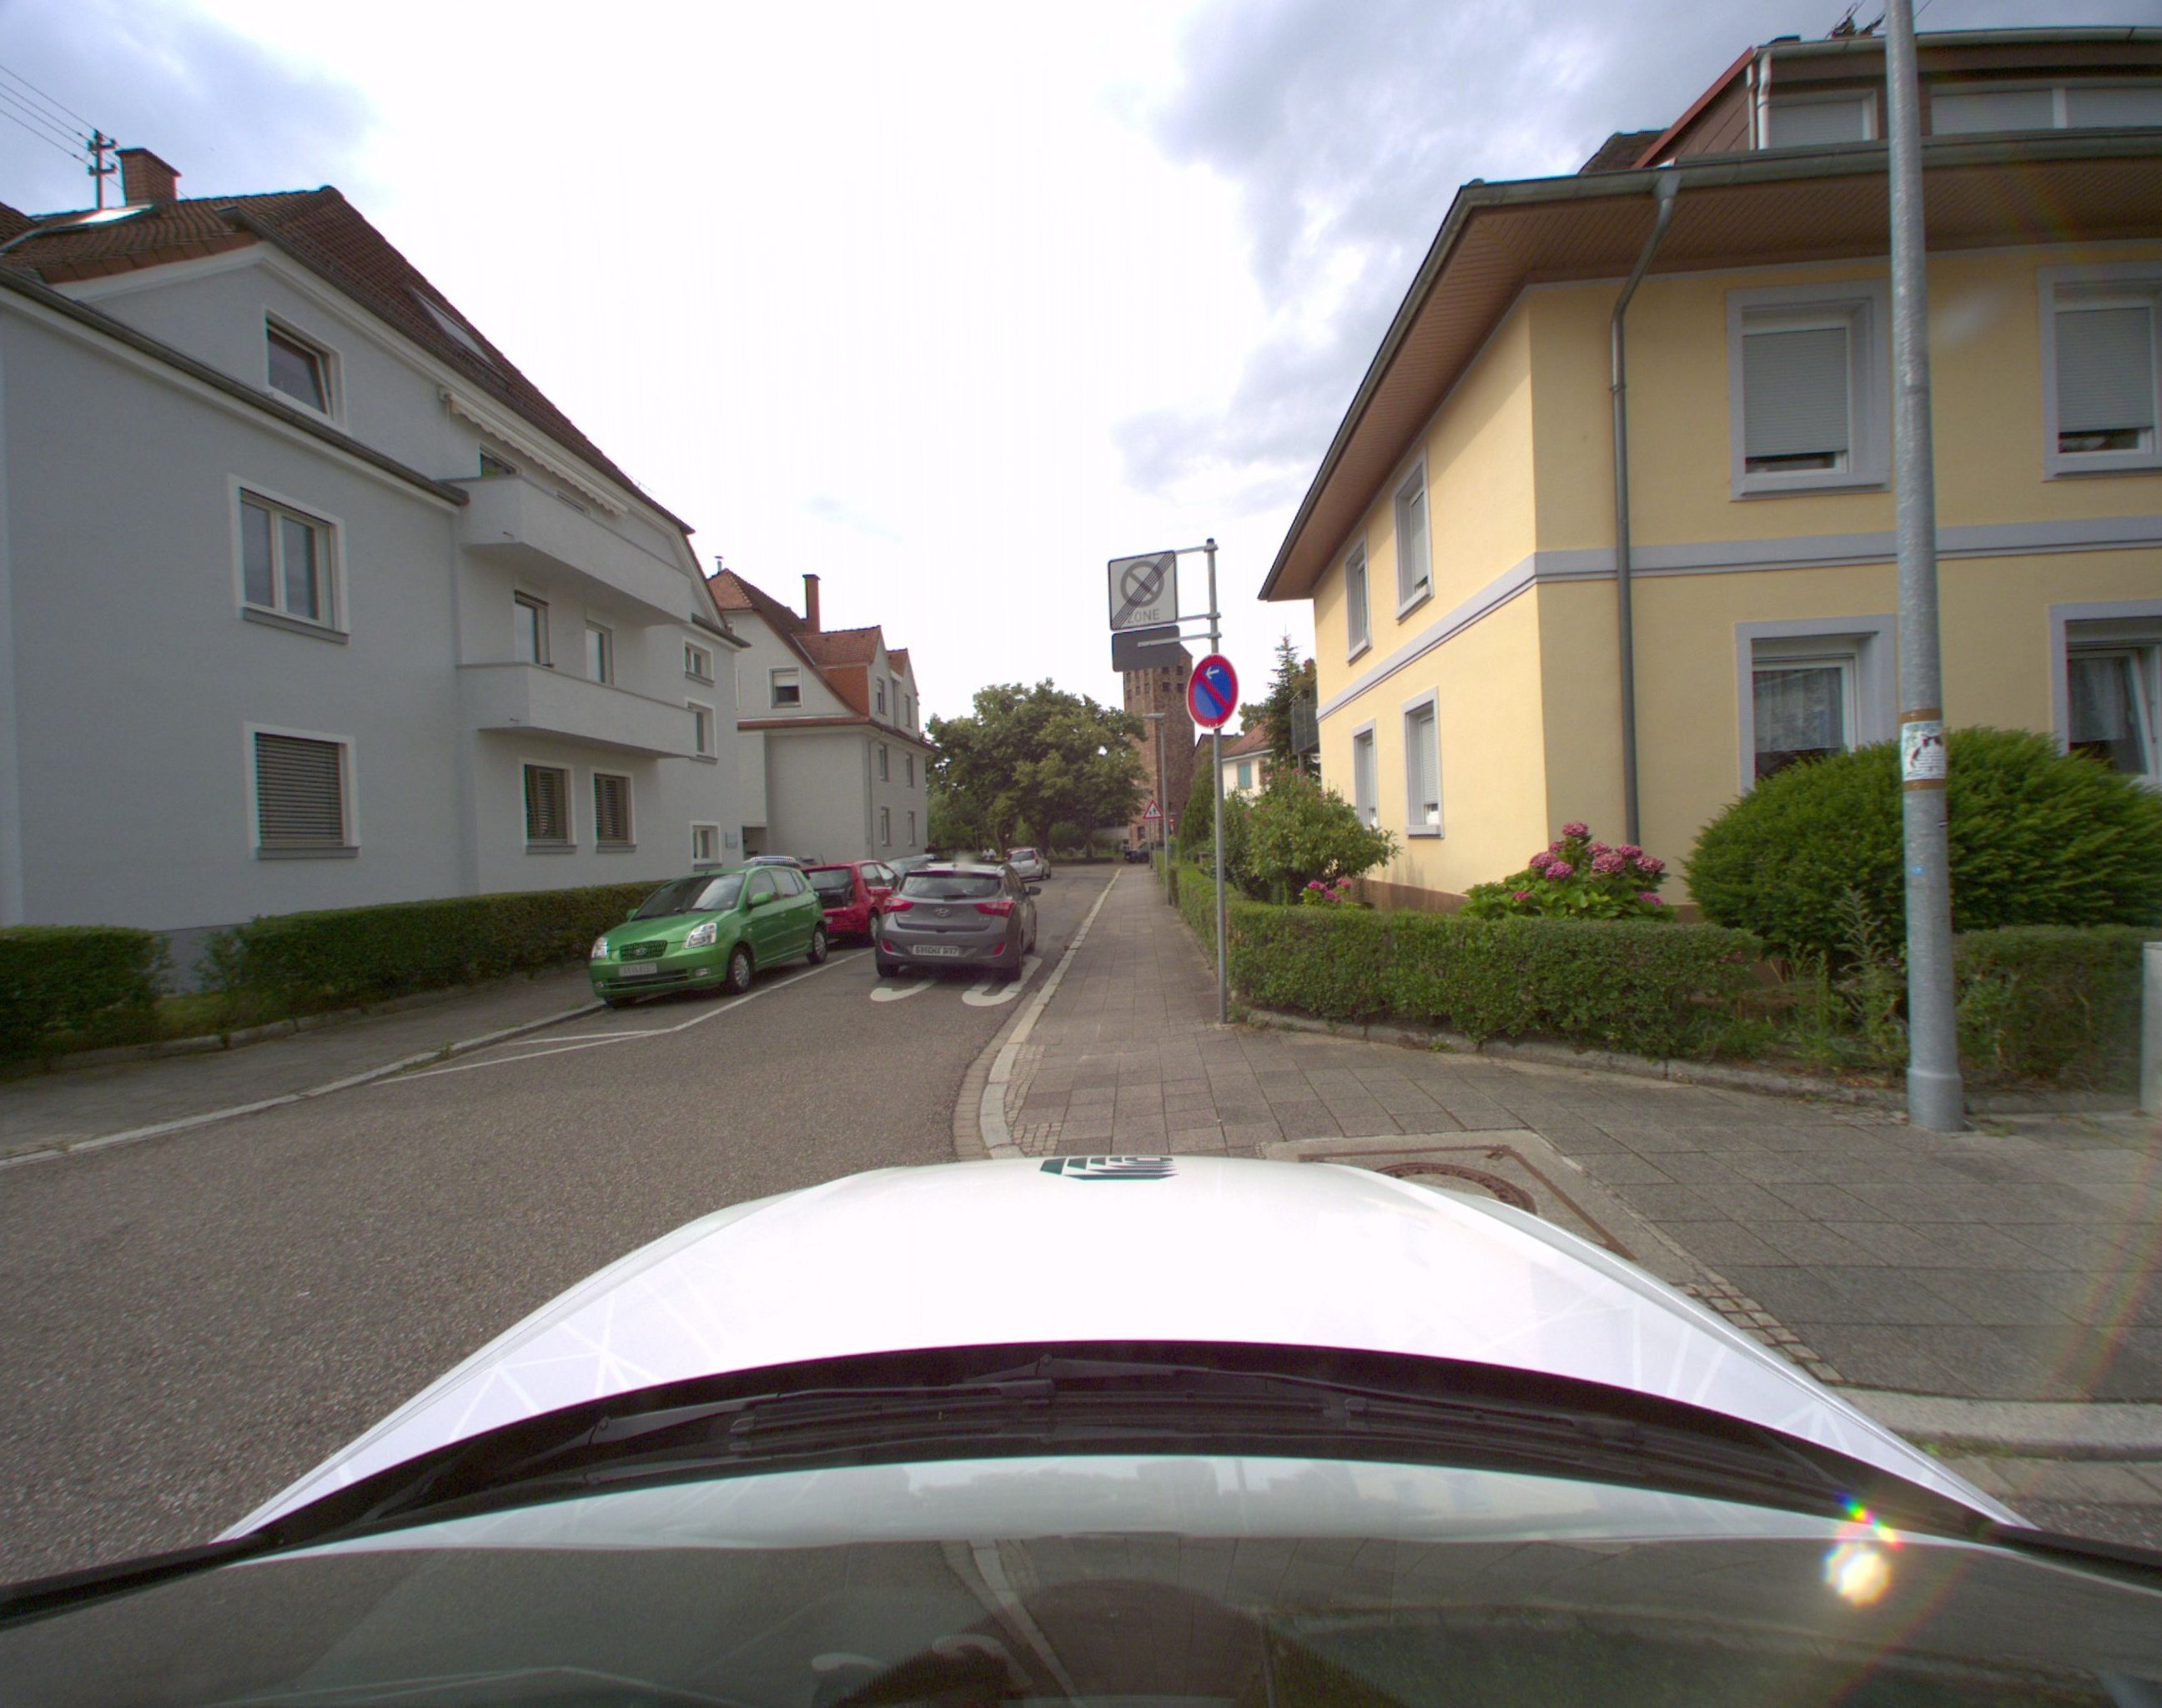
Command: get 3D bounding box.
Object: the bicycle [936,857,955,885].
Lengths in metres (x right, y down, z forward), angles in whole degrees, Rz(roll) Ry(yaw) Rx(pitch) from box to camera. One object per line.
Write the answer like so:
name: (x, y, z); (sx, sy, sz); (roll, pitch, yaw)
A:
bicycle: (-5.674, 0.688, 34.159); (0.420, 1.103, 2.115); (-2, 1, 0)

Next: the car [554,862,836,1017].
car: (-4.596, 0.919, 10.330); (1.639, 1.421, 3.484); (-6, 0, 3)

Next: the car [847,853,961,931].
car: (-4.065, 0.822, 19.275); (1.639, 1.495, 3.484); (-6, 0, 3)

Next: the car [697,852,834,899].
car: (-11.131, 0.748, 28.936); (3.969, 1.464, 2.003); (-2, 0, 4)

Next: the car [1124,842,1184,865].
car: (5.227, -0.027, 58.660); (4.196, 1.464, 1.686); (-2, 2, 3)

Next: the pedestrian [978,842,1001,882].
pedestrian: (-4.460, 0.371, 39.698); (0.877, 1.878, 1.080); (-2, 0, 4)

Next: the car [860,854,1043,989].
car: (-1.613, 0.790, 11.562); (1.842, 1.480, 4.042); (-2, 1, 1)

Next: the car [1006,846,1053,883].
car: (-2.340, 0.436, 37.689); (1.639, 1.495, 3.484); (-6, 0, 3)

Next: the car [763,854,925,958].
car: (-4.169, 0.840, 14.908); (1.639, 1.495, 3.484); (-6, 0, 3)

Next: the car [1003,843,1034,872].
car: (-3.704, 0.213, 48.724); (1.642, 1.495, 3.478); (-6, 0, -3)
